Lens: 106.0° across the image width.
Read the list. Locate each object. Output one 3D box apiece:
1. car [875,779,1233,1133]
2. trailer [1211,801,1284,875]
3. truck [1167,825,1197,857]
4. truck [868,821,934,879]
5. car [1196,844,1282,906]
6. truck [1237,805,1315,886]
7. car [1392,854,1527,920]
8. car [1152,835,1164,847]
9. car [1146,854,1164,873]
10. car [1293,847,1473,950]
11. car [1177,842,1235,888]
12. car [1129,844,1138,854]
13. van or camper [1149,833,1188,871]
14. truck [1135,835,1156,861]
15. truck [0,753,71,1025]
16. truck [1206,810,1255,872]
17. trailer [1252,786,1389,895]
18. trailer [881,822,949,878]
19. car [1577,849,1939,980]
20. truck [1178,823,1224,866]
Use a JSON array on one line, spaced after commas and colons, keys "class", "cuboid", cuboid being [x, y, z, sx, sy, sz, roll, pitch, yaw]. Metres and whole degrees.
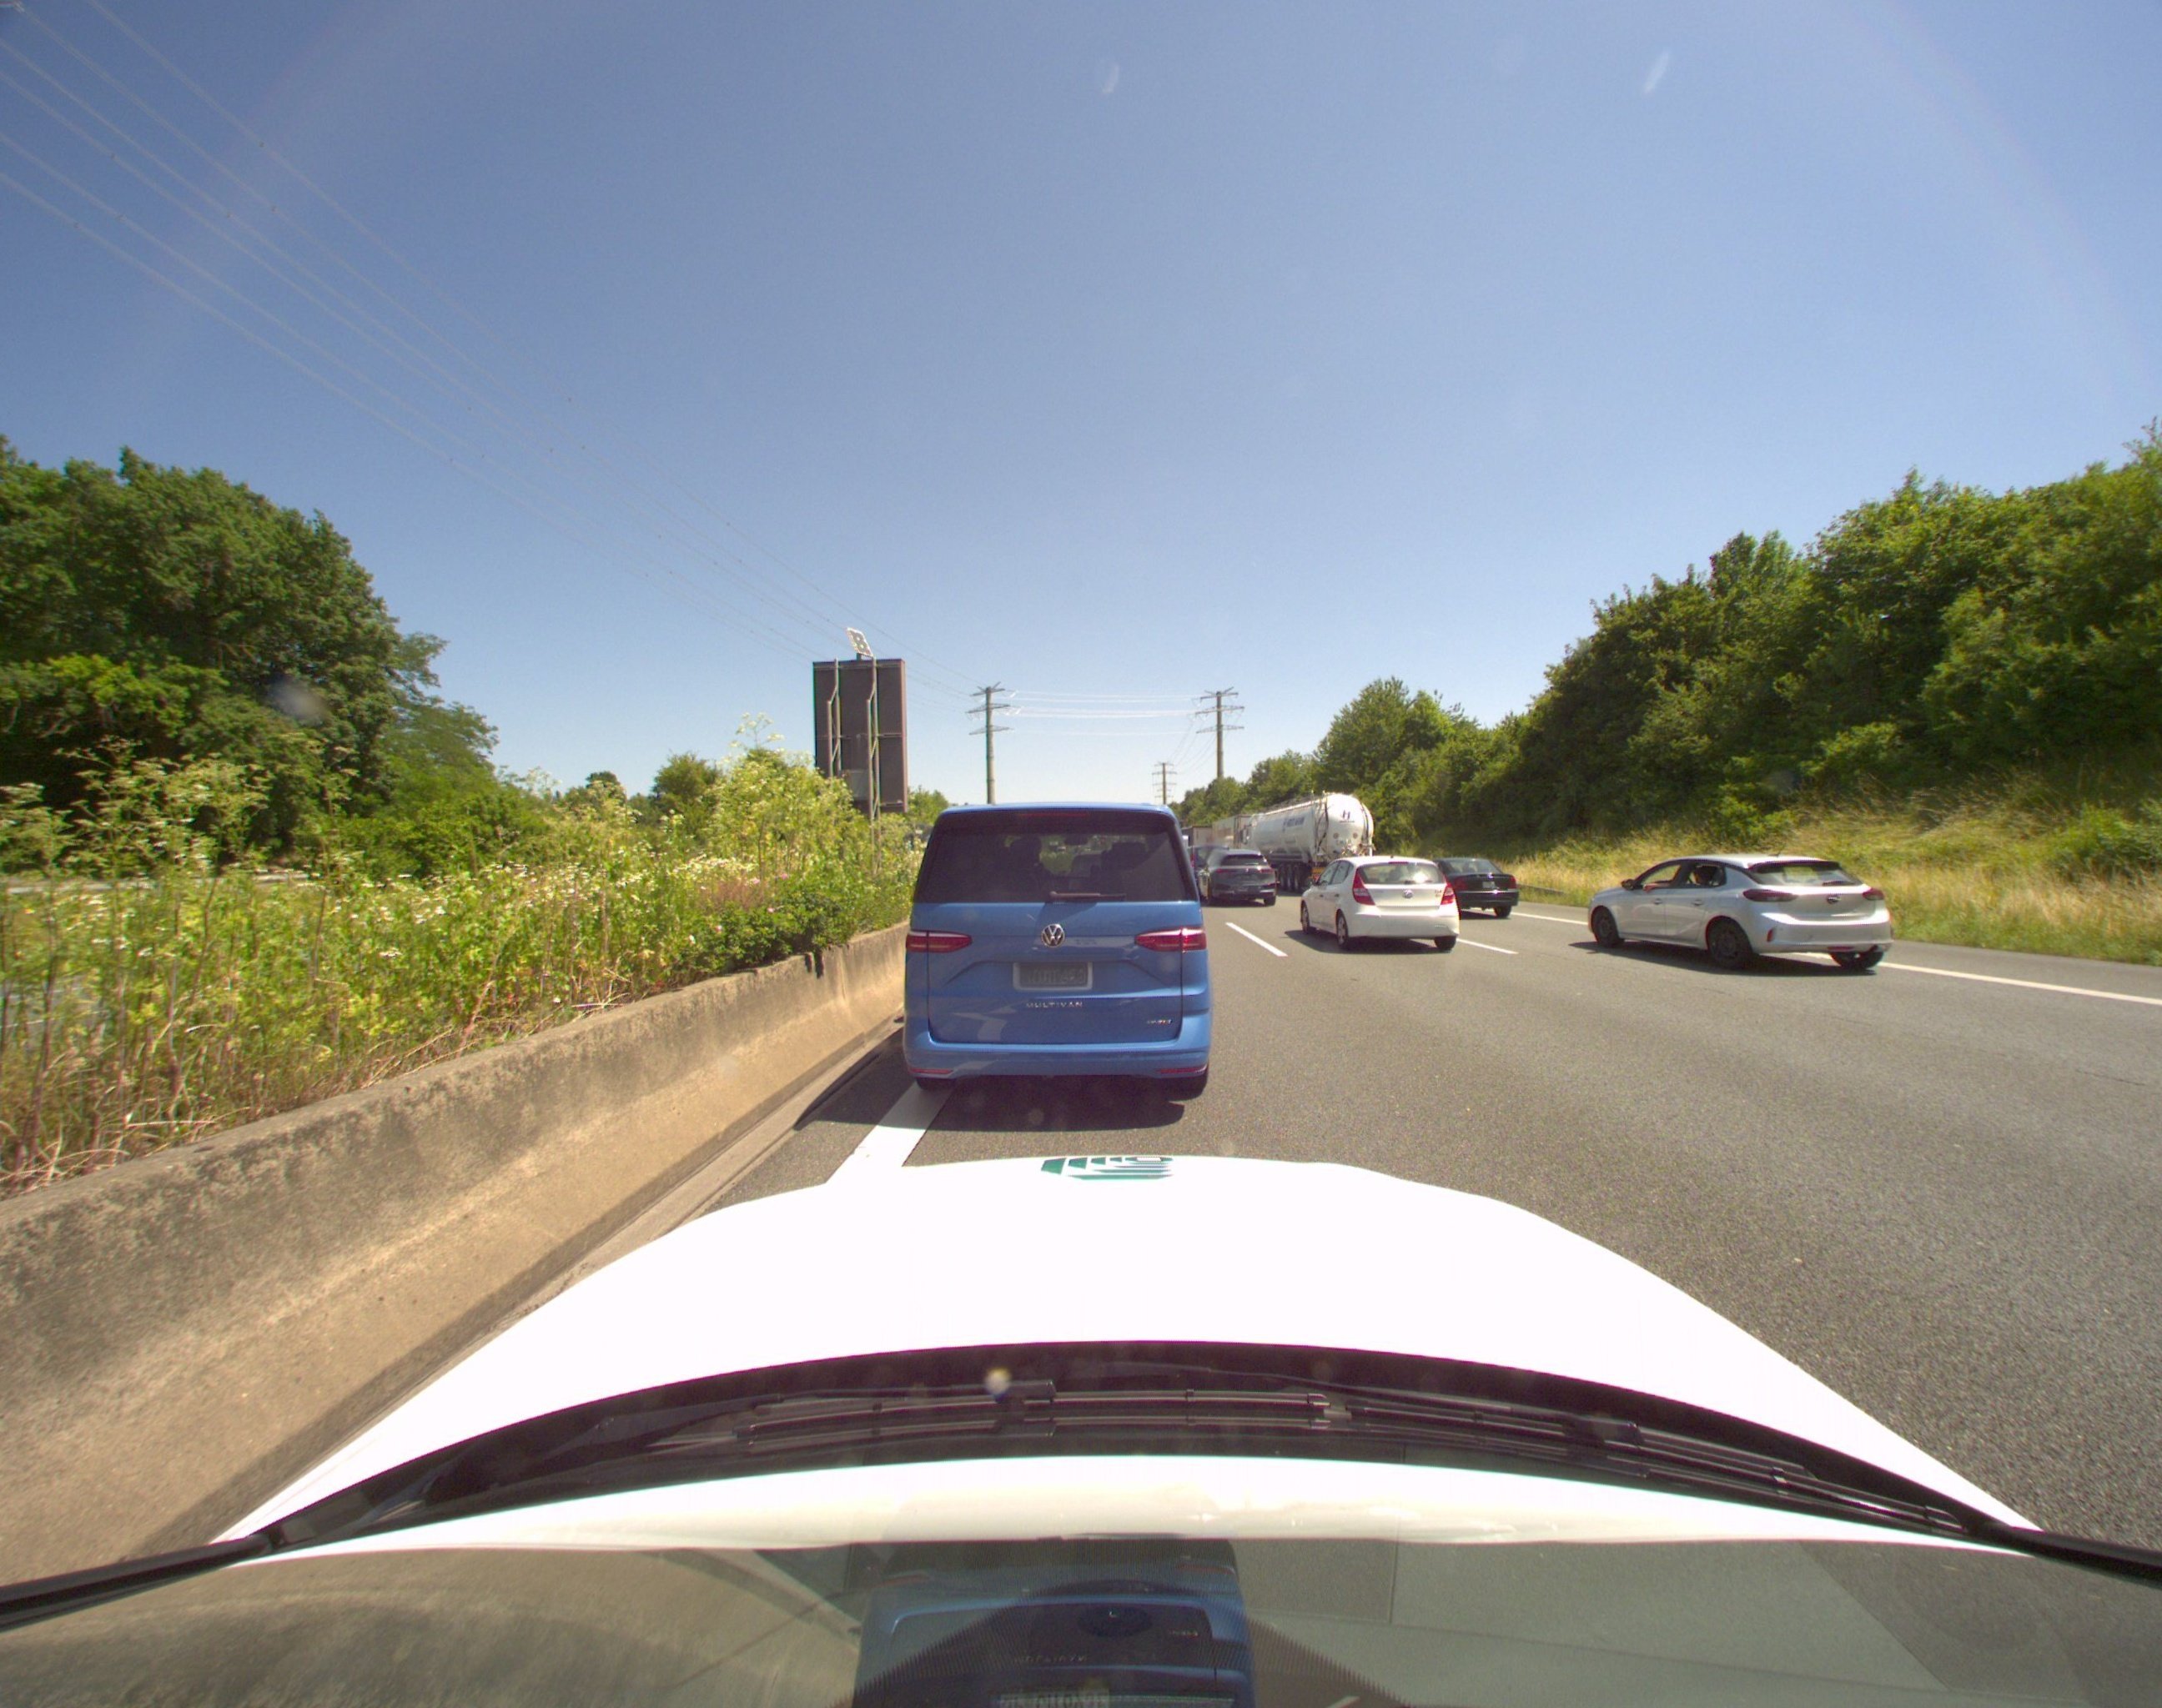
[{"class": "car", "cuboid": [-0.064, 0.540, 6.356, 1.912, 1.886, 4.002, 0, 0, 2]}, {"class": "trailer", "cuboid": [11.287, -0.953, 56.542, 2.901, 4.469, 12.158, -2, 0, 2]}, {"class": "truck", "cuboid": [13.005, -1.586, 105.430, 2.883, 3.766, 13.355, -1, -1, 3]}, {"class": "truck", "cuboid": [-12.187, -0.242, 55.588, 3.060, 3.709, 5.465, -1, 0, 2]}, {"class": "car", "cuboid": [4.839, 0.646, 25.615, 1.991, 1.715, 4.628, -2, -1, 3]}, {"class": "truck", "cuboid": [9.995, -0.416, 42.232, 2.782, 3.836, 5.574, -2, 0, 2]}, {"class": "car", "cuboid": [9.262, 0.765, 20.294, 1.634, 1.416, 3.991, -2, -1, 3]}, {"class": "car", "cuboid": [13.856, -2.348, 146.630, 1.985, 2.014, 4.002, -1, -1, 2]}, {"class": "car", "cuboid": [8.182, 1.093, 90.821, 1.828, 1.998, 4.004, -2, -1, 4]}, {"class": "car", "cuboid": [5.021, 0.694, 14.141, 1.809, 1.485, 4.003, -2, -1, 3]}, {"class": "car", "cuboid": [5.766, 0.521, 38.039, 1.918, 1.925, 4.234, -2, -1, -1]}, {"class": "car", "cuboid": [12.118, -1.131, 189.427, 1.986, 2.126, 4.001, -1, -1, 2]}, {"class": "van or camper", "cuboid": [7.287, -0.136, 68.780, 2.944, 3.022, 7.109, -1, -1, 4]}, {"class": "truck", "cuboid": [9.714, -0.790, 123.529, 2.883, 3.766, 10.148, -1, -1, 3]}, {"class": "truck", "cuboid": [-14.782, 0.436, 4.662, 2.753, 3.288, 11.829, -2, 0, 3]}, {"class": "truck", "cuboid": [11.516, -0.955, 63.083, 2.901, 4.469, 5.144, -2, 0, 2]}, {"class": "trailer", "cuboid": [9.784, -0.451, 34.890, 2.751, 3.845, 11.490, -2, 0, 2]}, {"class": "trailer", "cuboid": [-12.060, -0.277, 59.958, 3.113, 3.759, 7.872, -1, 0, 2]}, {"class": "car", "cuboid": [8.894, 0.676, 11.239, 1.724, 1.443, 4.030, -2, 0, 2]}, {"class": "truck", "cuboid": [11.824, -0.794, 81.750, 2.993, 3.766, 15.724, -1, -1, 3]}]
